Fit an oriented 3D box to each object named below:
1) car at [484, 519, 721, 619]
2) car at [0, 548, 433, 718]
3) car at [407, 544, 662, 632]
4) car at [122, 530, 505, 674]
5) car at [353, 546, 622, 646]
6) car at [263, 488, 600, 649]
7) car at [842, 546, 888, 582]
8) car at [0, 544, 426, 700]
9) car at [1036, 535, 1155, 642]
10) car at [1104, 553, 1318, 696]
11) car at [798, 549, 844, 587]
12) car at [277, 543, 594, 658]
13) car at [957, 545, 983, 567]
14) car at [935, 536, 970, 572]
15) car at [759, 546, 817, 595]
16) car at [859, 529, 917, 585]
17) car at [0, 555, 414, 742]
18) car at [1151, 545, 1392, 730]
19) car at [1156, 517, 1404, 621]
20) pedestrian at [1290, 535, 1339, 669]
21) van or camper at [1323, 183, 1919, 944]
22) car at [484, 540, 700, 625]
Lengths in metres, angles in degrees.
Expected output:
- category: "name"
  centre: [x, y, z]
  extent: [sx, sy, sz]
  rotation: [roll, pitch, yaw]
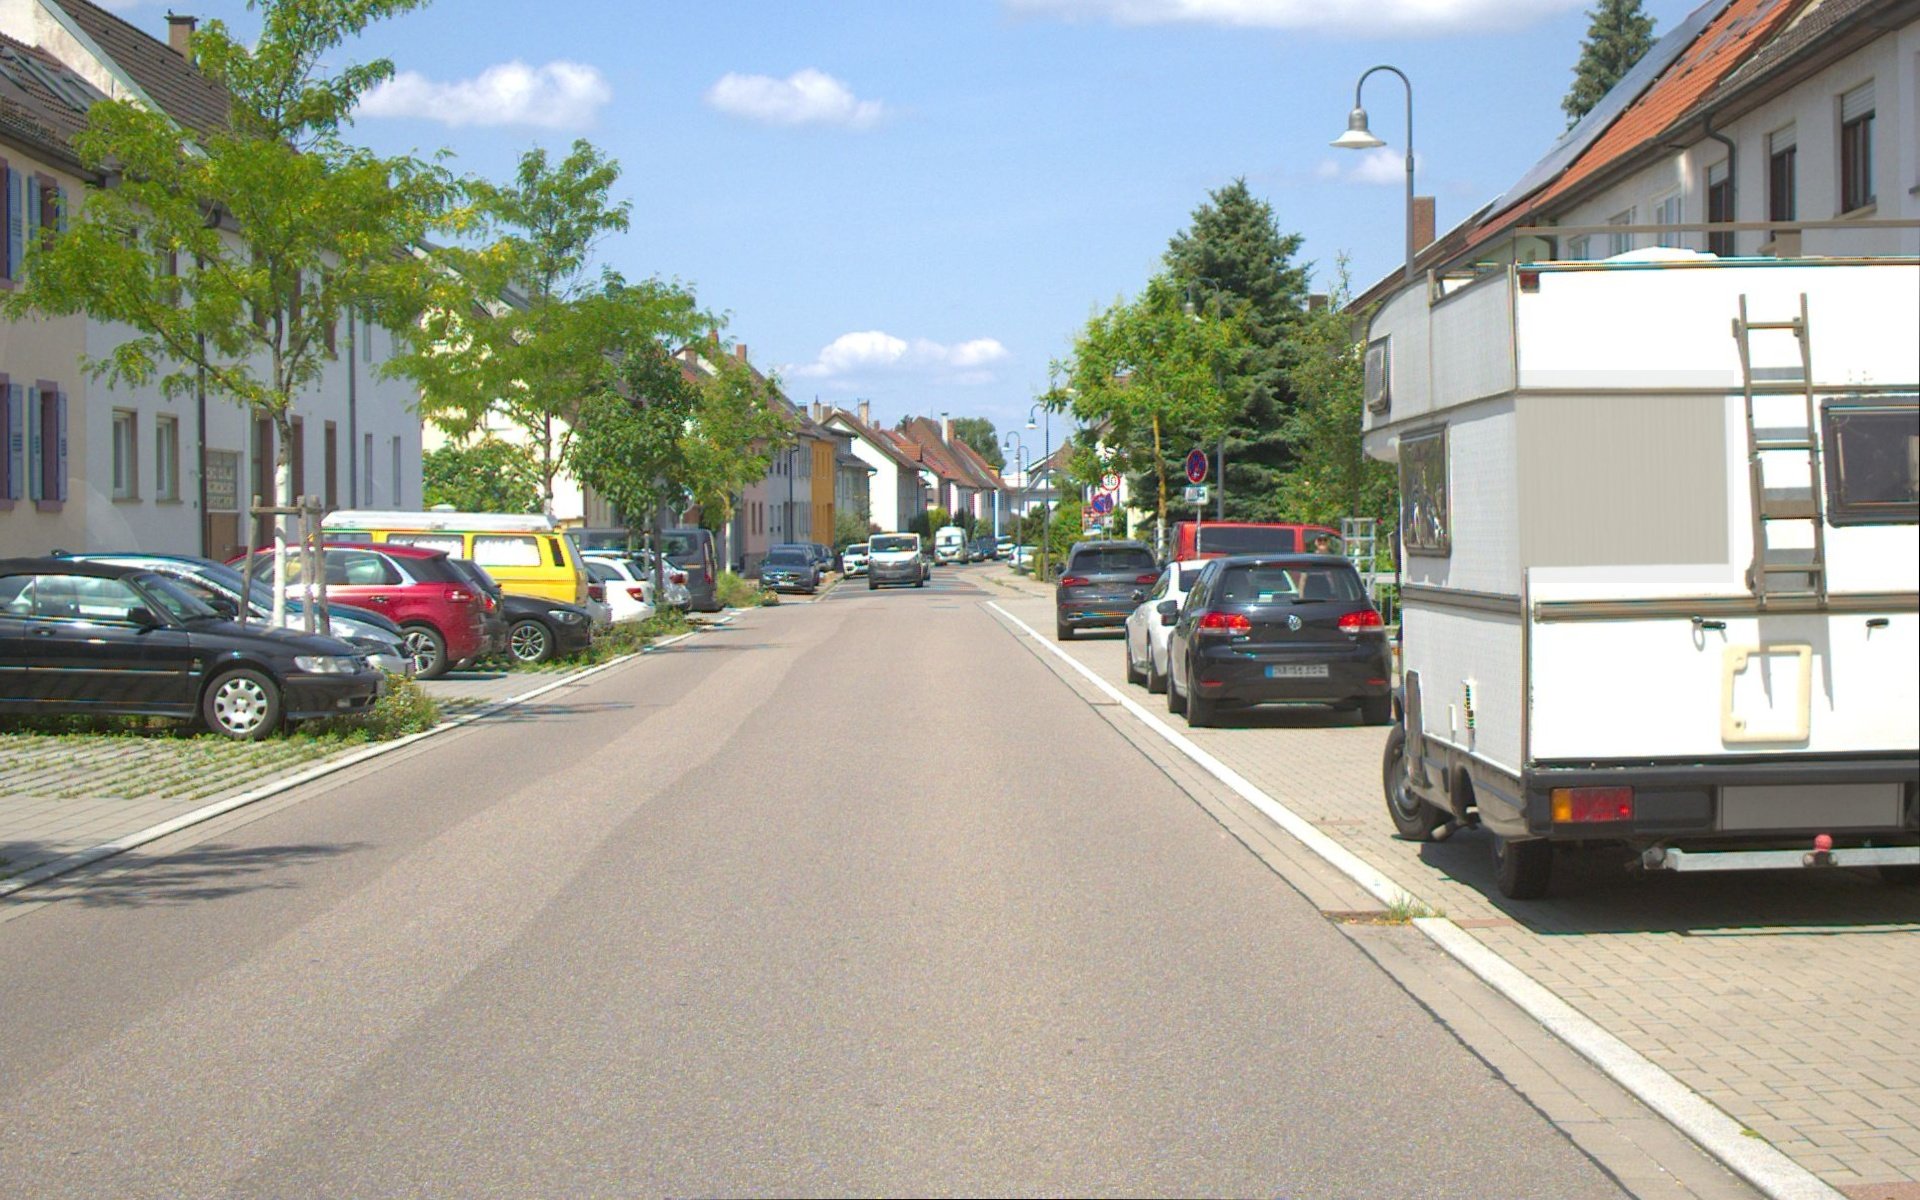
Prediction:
- category: "car"
  centre: [-7.395, -0.643, 71.447]
  extent: [4.700, 1.916, 1.938]
  rotation: [2, 0, 0]
- category: "car"
  centre: [-7.077, 0.291, 32.164]
  extent: [4.053, 1.473, 1.776]
  rotation: [1, 1, -3]
- category: "car"
  centre: [-7.617, -0.215, 61.781]
  extent: [4.295, 1.463, 1.774]
  rotation: [1, 0, 2]
- category: "car"
  centre: [-7.719, 0.015, 41.325]
  extent: [4.253, 1.606, 1.843]
  rotation: [1, 1, -1]
- category: "car"
  centre: [-7.388, -0.064, 53.767]
  extent: [4.071, 1.463, 1.754]
  rotation: [1, 1, -8]
- category: "car"
  centre: [-7.522, -0.454, 49.238]
  extent: [4.508, 2.170, 1.925]
  rotation: [1, 1, 0]
- category: "car"
  centre: [-4.566, -1.729, 165.386]
  extent: [1.850, 1.653, 4.000]
  rotation: [2, 1, 2]
- category: "car"
  centre: [-7.761, 0.212, 35.125]
  extent: [4.403, 1.473, 1.776]
  rotation: [1, 1, -4]
- category: "car"
  centre: [2.260, -0.231, 57.706]
  extent: [1.864, 1.630, 4.446]
  rotation: [-2, 1, 2]
- category: "car"
  centre: [2.694, 0.225, 37.817]
  extent: [1.832, 1.460, 4.520]
  rotation: [0, 1, -2]
- category: "car"
  centre: [-6.197, -1.441, 153.431]
  extent: [1.810, 1.603, 4.000]
  rotation: [2, 1, 0]
- category: "car"
  centre: [-7.074, -0.004, 46.621]
  extent: [4.010, 1.454, 1.755]
  rotation: [1, 1, 0]
- category: "car"
  centre: [0.743, -3.288, 257.275]
  extent: [1.692, 1.498, 3.771]
  rotation: [2, 0, 3]
- category: "car"
  centre: [-0.500, -3.127, 234.954]
  extent: [2.045, 2.304, 3.771]
  rotation: [2, 0, 3]
- category: "car"
  centre: [-5.826, -1.020, 116.474]
  extent: [1.816, 1.428, 4.140]
  rotation: [4, 2, -3]
- category: "car"
  centre: [-2.558, -1.516, 122.425]
  extent: [2.022, 1.943, 4.899]
  rotation: [0, 0, -1]
- category: "car"
  centre: [-6.894, 0.363, 28.218]
  extent: [4.524, 1.421, 1.796]
  rotation: [1, 1, 0]
- category: "car"
  centre: [2.704, 0.287, 30.601]
  extent: [1.767, 1.524, 4.007]
  rotation: [0, 1, 0]
- category: "car"
  centre: [6.253, -0.599, 67.535]
  extent: [4.618, 1.887, 2.021]
  rotation: [1, 0, -1]
- category: "pedestrian"
  centre: [4.655, 0.027, 45.155]
  extent: [0.557, 1.743, 0.673]
  rotation: [0, 0, 0]
- category: "van or camper"
  centre: [3.254, -0.200, 15.673]
  extent: [2.473, 2.800, 5.791]
  rotation: [-1, 1, -1]
- category: "car"
  centre: [-7.324, -0.343, 68.661]
  extent: [4.182, 1.563, 1.774]
  rotation: [2, 0, -4]
